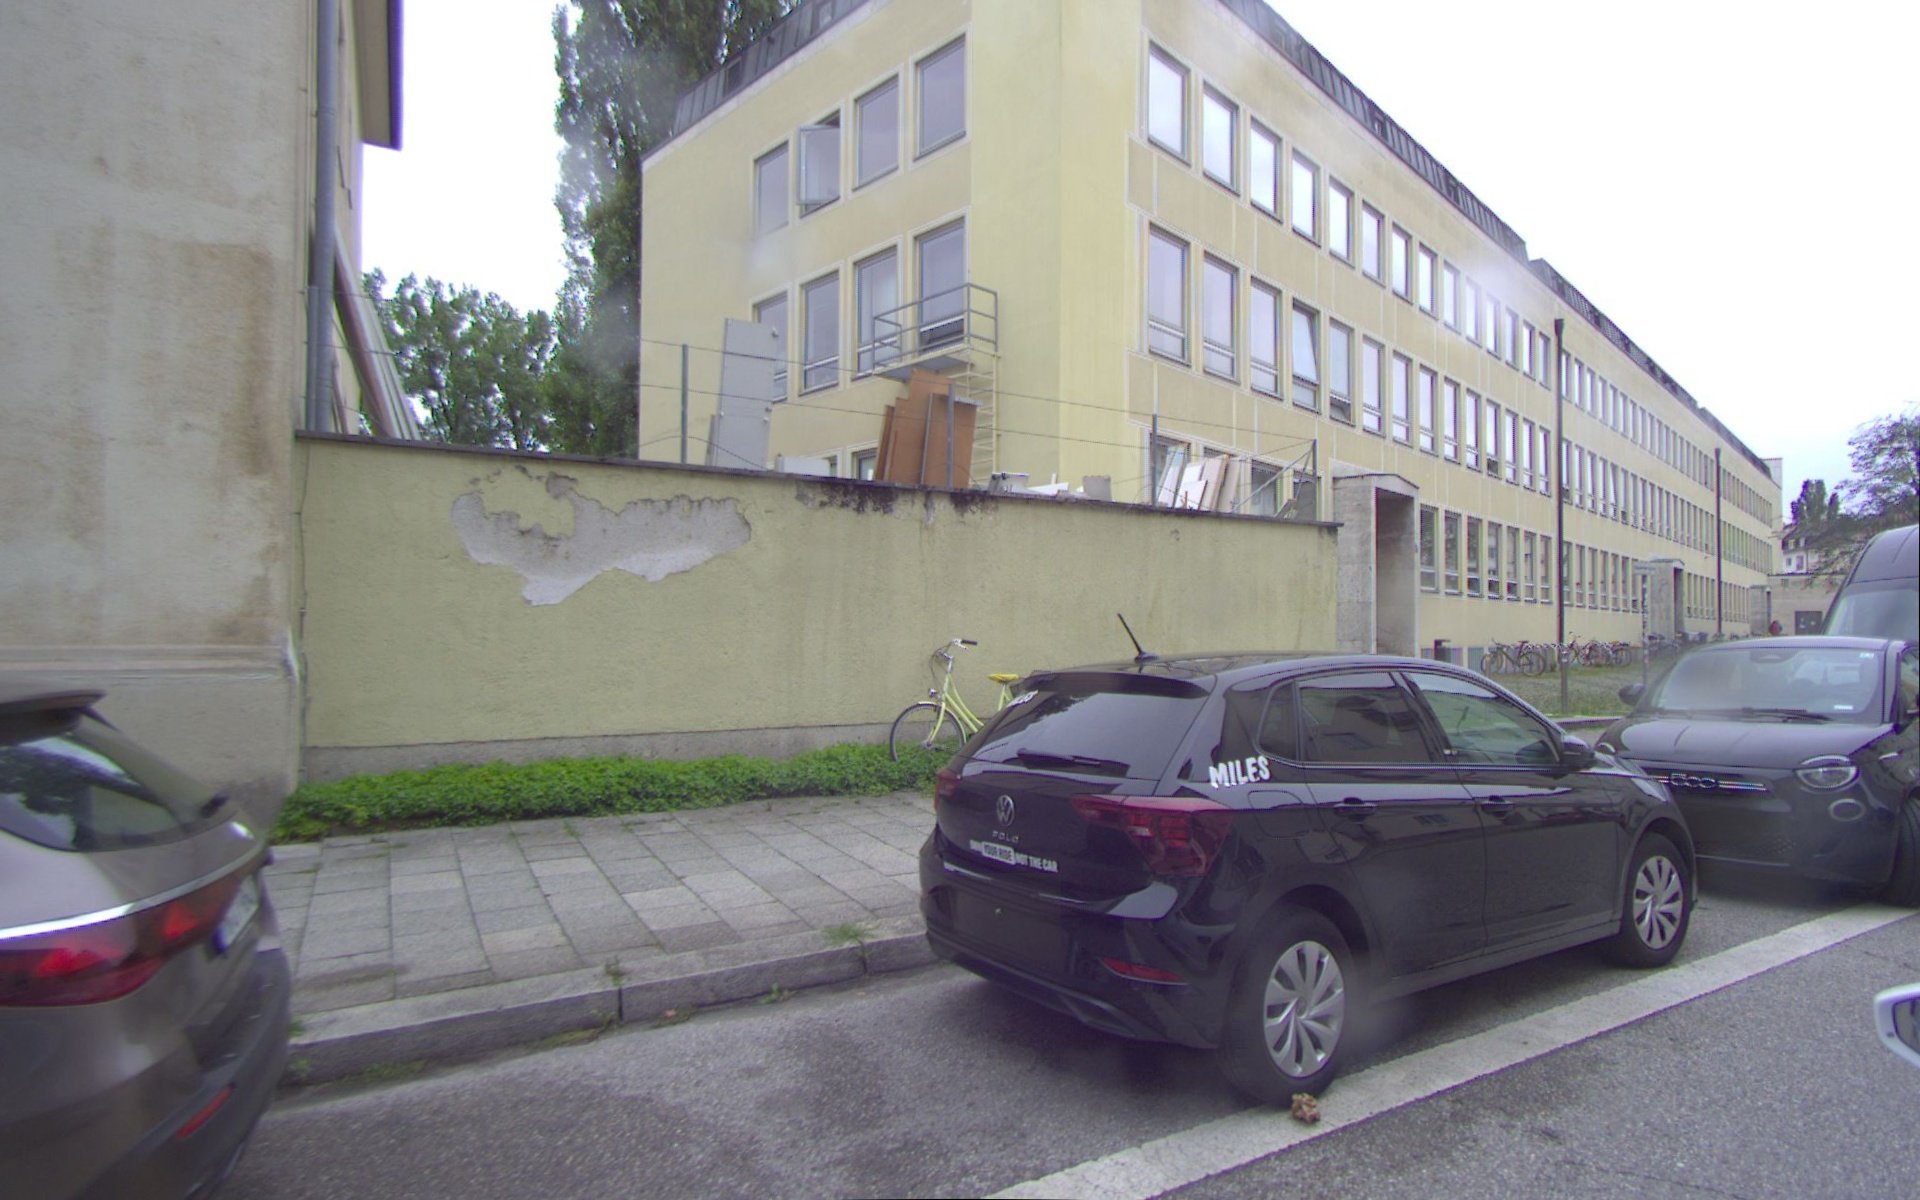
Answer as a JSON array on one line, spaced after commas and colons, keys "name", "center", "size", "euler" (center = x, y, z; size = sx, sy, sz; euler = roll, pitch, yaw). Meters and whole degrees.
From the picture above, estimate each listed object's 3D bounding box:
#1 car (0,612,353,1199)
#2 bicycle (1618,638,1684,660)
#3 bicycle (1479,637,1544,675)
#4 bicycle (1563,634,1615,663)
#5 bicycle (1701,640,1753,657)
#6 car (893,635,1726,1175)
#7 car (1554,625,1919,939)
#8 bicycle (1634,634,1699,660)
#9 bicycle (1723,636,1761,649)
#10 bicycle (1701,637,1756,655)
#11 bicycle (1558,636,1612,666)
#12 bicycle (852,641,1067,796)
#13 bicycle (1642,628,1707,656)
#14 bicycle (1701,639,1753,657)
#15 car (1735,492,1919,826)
[{"name": "car", "center": [-3.612, 0.801, 1.499], "size": [4.484, 1.558, 1.760], "euler": [2, -4, -28]}, {"name": "bicycle", "center": [28.084, 1.976, 40.867], "size": [2.180, 0.846, 0.492], "euler": [-1, -3, 42]}, {"name": "bicycle", "center": [14.954, 1.508, 27.244], "size": [1.511, 0.967, 0.364], "euler": [0, -1, 44]}, {"name": "bicycle", "center": [22.240, 1.702, 35.525], "size": [1.511, 0.967, 0.364], "euler": [0, -1, 44]}, {"name": "bicycle", "center": [39.505, 2.499, 51.725], "size": [2.095, 0.846, 0.644], "euler": [-1, -3, 42]}, {"name": "car", "center": [1.745, 0.931, 4.624], "size": [3.784, 1.465, 1.691], "euler": [1, -1, -33]}, {"name": "car", "center": [5.631, 1.004, 6.693], "size": [3.509, 1.558, 1.575], "euler": [2, -4, -36]}, {"name": "bicycle", "center": [29.691, 1.981, 42.228], "size": [2.180, 1.051, 0.492], "euler": [-1, -3, 42]}, {"name": "bicycle", "center": [46.441, 2.530, 59.657], "size": [1.718, 0.724, 0.611], "euler": [-1, -3, 42]}, {"name": "bicycle", "center": [39.074, 2.342, 51.077], "size": [2.180, 0.846, 0.492], "euler": [-1, -3, 42]}, {"name": "bicycle", "center": [21.371, 1.747, 34.364], "size": [1.511, 0.967, 0.364], "euler": [0, -1, 44]}, {"name": "bicycle", "center": [0.010, 0.971, 8.720], "size": [1.755, 1.208, 0.674], "euler": [1, -1, -29]}, {"name": "bicycle", "center": [31.438, 1.829, 44.194], "size": [2.223, 1.184, 1.041], "euler": [0, -1, 44]}, {"name": "bicycle", "center": [41.119, 2.566, 53.893], "size": [2.180, 0.907, 0.644], "euler": [-1, -3, 42]}, {"name": "car", "center": [9.884, 0.507, 9.541], "size": [5.311, 2.671, 2.079], "euler": [1, -1, -29]}]
